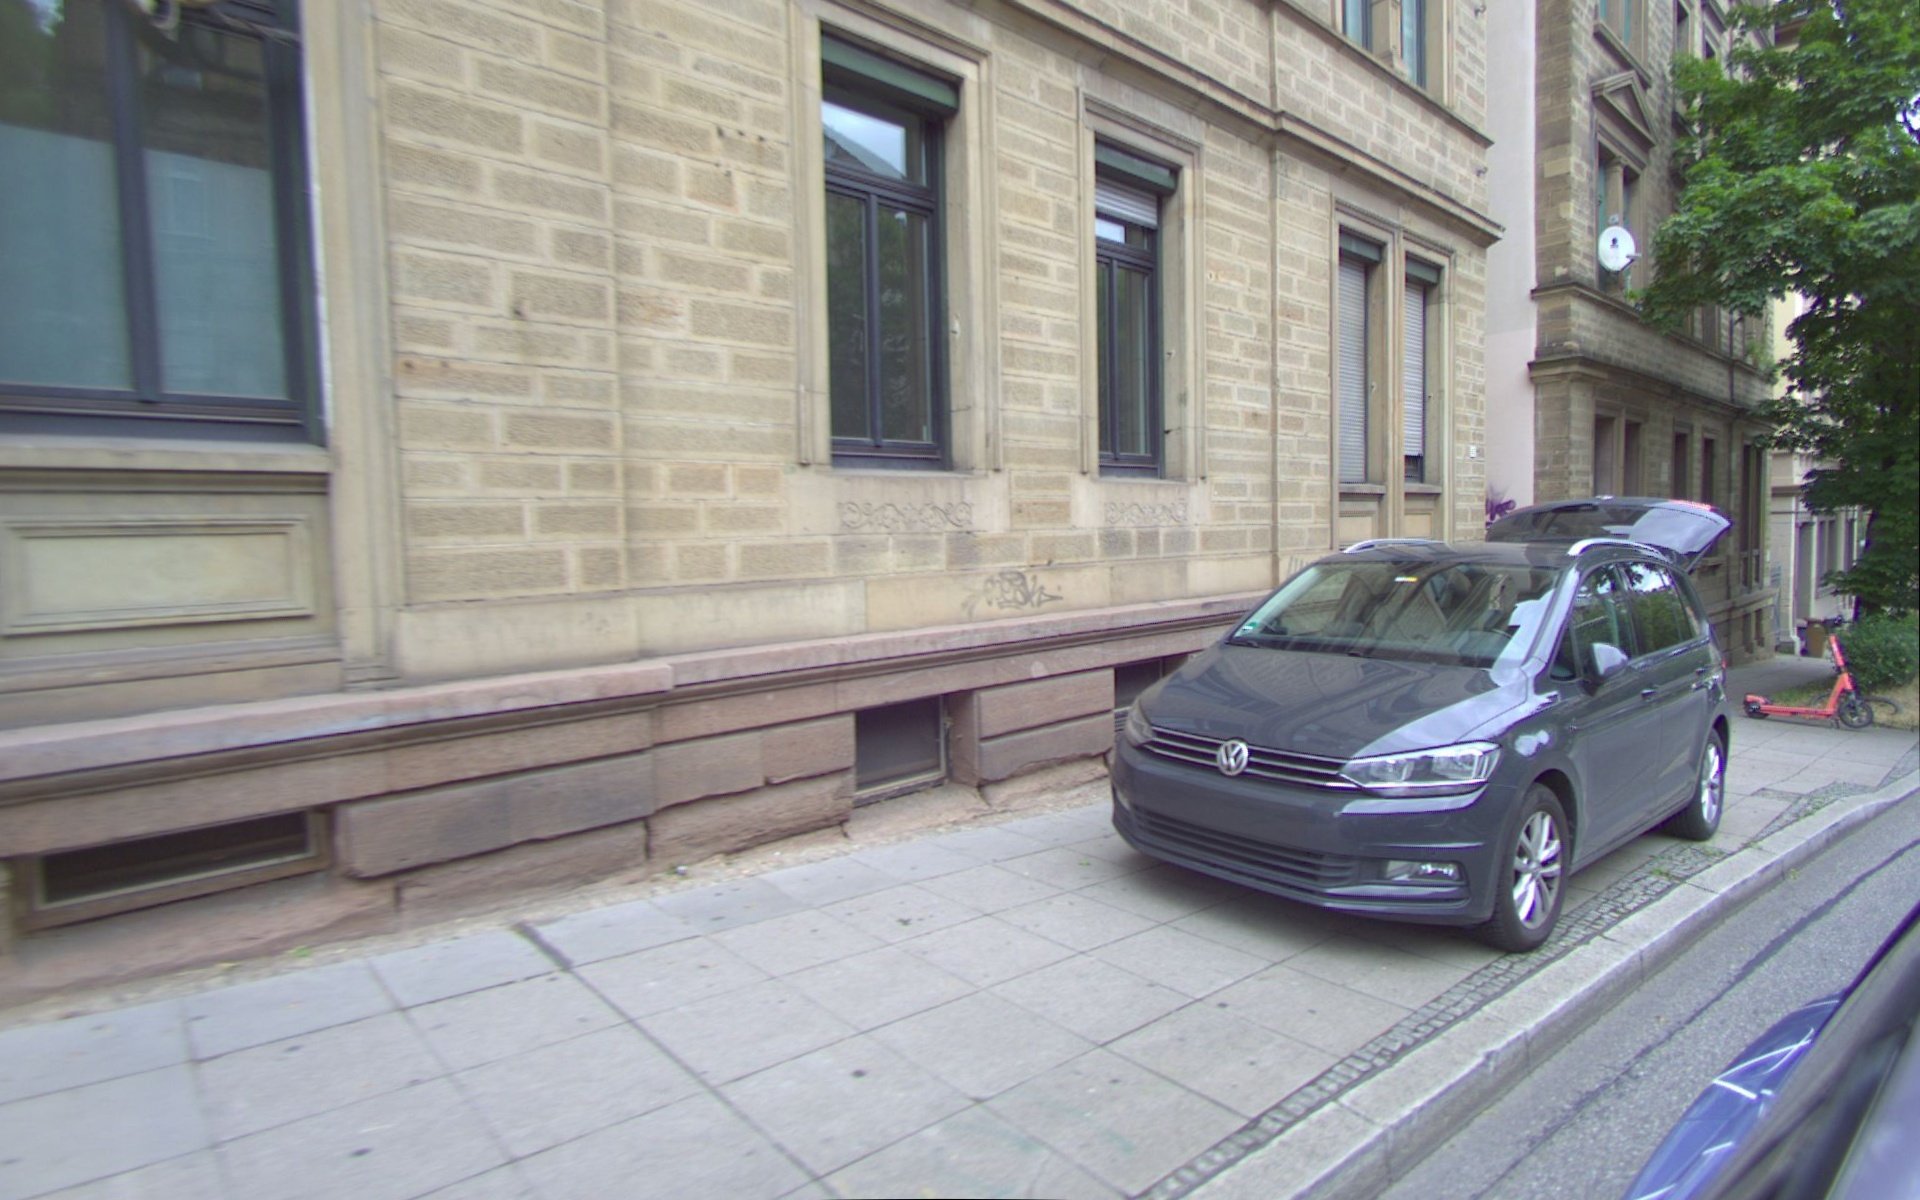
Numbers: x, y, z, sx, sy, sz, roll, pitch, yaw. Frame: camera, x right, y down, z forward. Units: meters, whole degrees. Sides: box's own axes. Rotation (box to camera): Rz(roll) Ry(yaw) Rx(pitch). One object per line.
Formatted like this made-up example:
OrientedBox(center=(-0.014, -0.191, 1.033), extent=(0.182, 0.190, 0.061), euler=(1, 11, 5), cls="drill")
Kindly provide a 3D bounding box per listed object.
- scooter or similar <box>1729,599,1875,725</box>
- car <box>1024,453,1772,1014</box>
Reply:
OrientedBox(center=(9.784, 0.682, 11.803), extent=(1.194, 1.288, 0.621), euler=(6, 4, 39), cls="scooter or similar")
OrientedBox(center=(2.505, 0.378, 5.218), extent=(4.232, 1.732, 1.861), euler=(0, 2, -41), cls="car")
